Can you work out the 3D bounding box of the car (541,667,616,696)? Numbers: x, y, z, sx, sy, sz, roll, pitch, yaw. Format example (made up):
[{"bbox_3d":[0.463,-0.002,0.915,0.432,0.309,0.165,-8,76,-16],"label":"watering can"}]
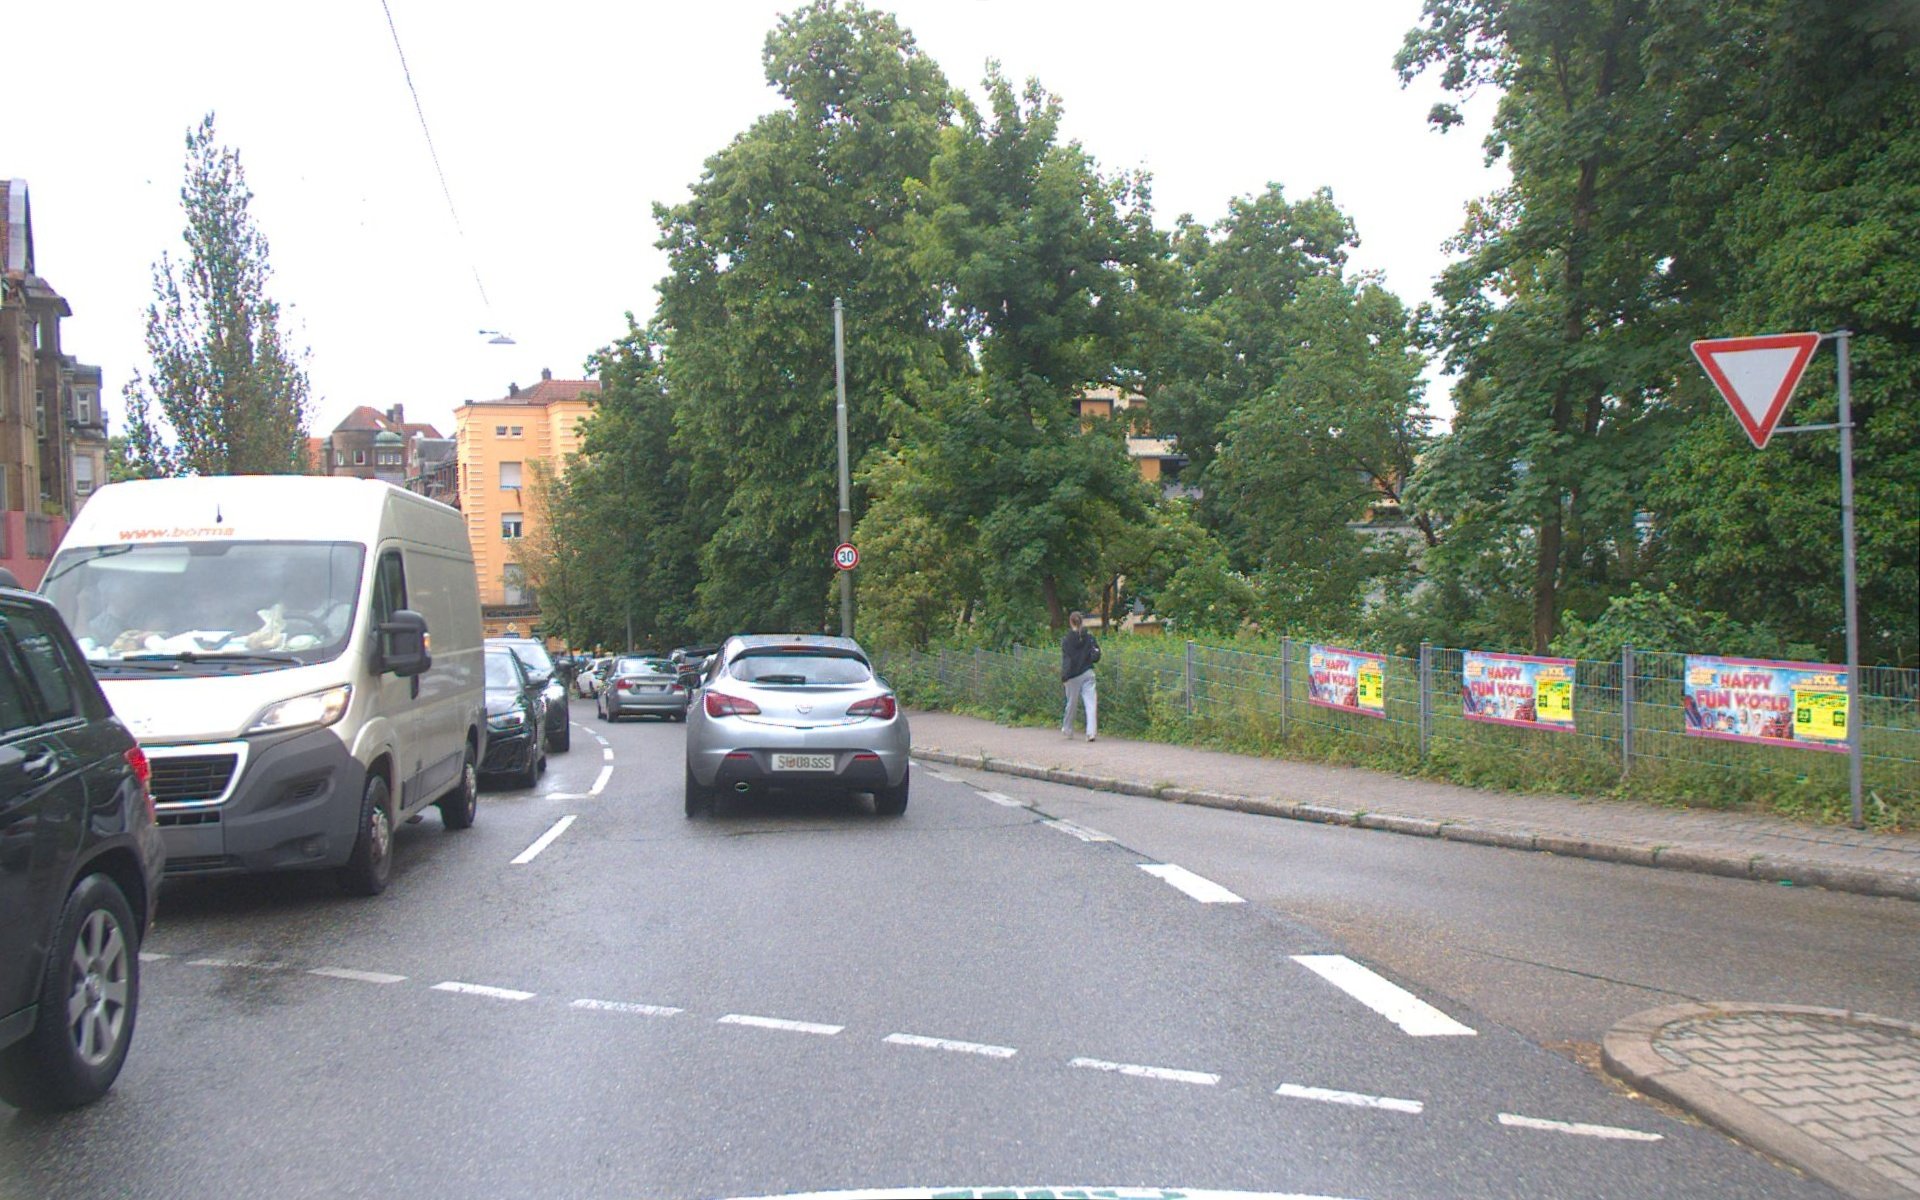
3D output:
[{"bbox_3d":[-21.087,4.519,91.462,3.729,1.455,1.766,3,-5,-28],"label":"car"}]

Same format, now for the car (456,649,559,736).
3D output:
[{"bbox_3d":[-8.610,1.719,31.322,1.745,1.524,4.242,0,-2,-17],"label":"car"}]

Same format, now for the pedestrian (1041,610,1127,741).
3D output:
[{"bbox_3d":[1.629,0.992,21.898,0.753,1.633,0.962,-4,-1,-15],"label":"pedestrian"}]

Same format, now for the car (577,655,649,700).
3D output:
[{"bbox_3d":[-13.178,2.959,62.604,1.949,1.477,4.087,-4,-1,-21],"label":"car"}]

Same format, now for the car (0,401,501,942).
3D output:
[{"bbox_3d":[-4.461,0.411,10.824,2.078,2.590,5.528,-2,-2,-9],"label":"car"}]

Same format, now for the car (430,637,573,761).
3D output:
[{"bbox_3d":[-6.813,1.408,24.620,1.844,1.602,4.565,-1,-2,-16],"label":"car"}]

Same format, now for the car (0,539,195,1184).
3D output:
[{"bbox_3d":[-3.308,0.681,3.599,1.787,1.681,4.338,0,-1,-8],"label":"car"}]

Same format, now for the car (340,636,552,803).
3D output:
[{"bbox_3d":[-5.256,1.169,17.345,1.784,1.455,3.986,-2,-1,-13],"label":"car"}]

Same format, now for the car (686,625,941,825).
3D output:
[{"bbox_3d":[-1.430,0.967,14.572,1.783,1.455,3.988,-1,-1,-12],"label":"car"}]

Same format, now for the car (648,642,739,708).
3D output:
[{"bbox_3d":[-7.857,2.173,48.484,1.794,1.712,4.777,-4,-1,-19],"label":"car"}]

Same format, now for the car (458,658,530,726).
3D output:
[{"bbox_3d":[-11.775,2.285,41.762,1.628,1.596,3.981,-1,-2,-16],"label":"car"}]

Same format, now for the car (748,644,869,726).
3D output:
[{"bbox_3d":[-3.116,1.693,33.336,1.623,1.429,3.794,-4,-1,-17],"label":"car"}]

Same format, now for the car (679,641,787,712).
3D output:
[{"bbox_3d":[-5.950,2.002,42.985,1.790,1.520,3.974,-7,-1,-21],"label":"car"}]

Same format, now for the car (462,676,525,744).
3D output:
[{"bbox_3d":[-11.130,2.586,39.401,1.361,1.436,3.440,-1,-1,-16],"label":"car"}]

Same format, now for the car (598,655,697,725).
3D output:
[{"bbox_3d":[-7.073,2.021,37.159,1.748,1.455,3.766,0,-3,-18],"label":"car"}]
